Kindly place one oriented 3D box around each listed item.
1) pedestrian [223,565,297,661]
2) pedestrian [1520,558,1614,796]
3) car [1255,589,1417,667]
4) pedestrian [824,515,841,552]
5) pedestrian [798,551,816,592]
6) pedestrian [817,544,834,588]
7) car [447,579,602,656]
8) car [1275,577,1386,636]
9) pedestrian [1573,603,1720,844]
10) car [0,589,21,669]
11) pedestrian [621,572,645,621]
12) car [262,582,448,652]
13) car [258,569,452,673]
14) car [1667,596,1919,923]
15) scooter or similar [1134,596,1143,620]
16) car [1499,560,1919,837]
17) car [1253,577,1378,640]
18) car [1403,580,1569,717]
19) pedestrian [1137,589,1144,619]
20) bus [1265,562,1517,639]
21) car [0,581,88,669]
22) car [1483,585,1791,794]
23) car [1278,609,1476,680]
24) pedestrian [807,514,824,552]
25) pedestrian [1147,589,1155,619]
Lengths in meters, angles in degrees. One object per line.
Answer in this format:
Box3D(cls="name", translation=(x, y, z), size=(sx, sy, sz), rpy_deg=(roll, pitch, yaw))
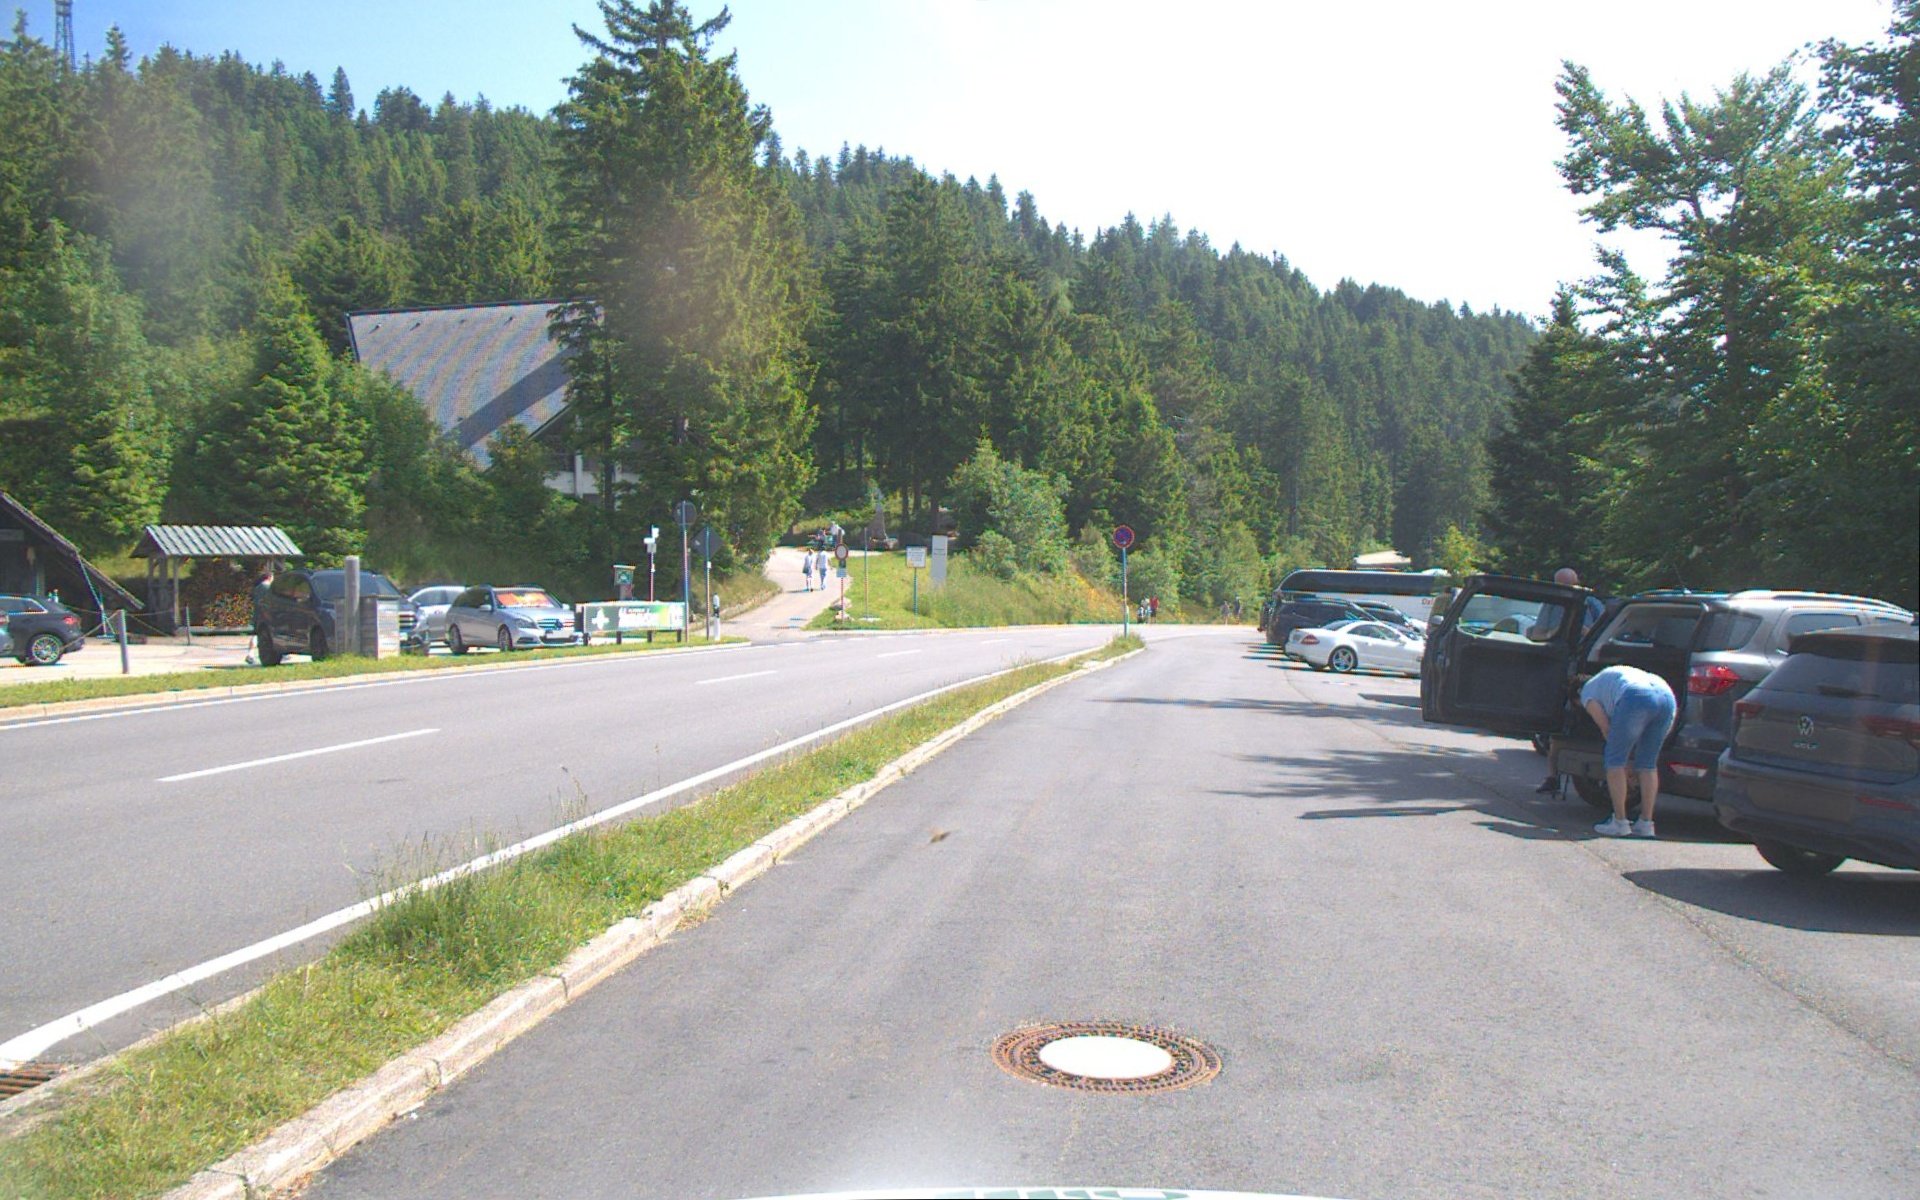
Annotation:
Box3D(cls="pedestrian", translation=(-13.273, 0.239, 31.386), size=(0.877, 1.764, 0.961), rpy_deg=(-1, 2, 8))
Box3D(cls="pedestrian", translation=(4.768, 0.589, 12.981), size=(0.567, 1.791, 0.633), rpy_deg=(3, 0, 23))
Box3D(cls="car", translation=(10.294, 0.736, 45.503), size=(3.906, 1.728, 2.001), rpy_deg=(5, 2, 1))
Box3D(cls="pedestrian", translation=(-7.056, -3.675, 91.529), size=(0.798, 2.048, 0.853), rpy_deg=(-1, 1, 0))
Box3D(cls="pedestrian", translation=(-6.352, -1.182, 68.726), size=(0.639, 1.696, 0.643), rpy_deg=(0, -1, 2))
Box3D(cls="pedestrian", translation=(-5.639, -1.437, 69.339), size=(0.639, 1.830, 0.643), rpy_deg=(0, 0, 2))
Box3D(cls="car", translation=(-9.165, 0.330, 34.612), size=(1.726, 1.466, 3.916), rpy_deg=(-2, 2, -38))
Box3D(cls="car", translation=(13.931, 0.228, 62.317), size=(3.903, 1.845, 1.942), rpy_deg=(4, 3, 11))
Box3D(cls="pedestrian", translation=(4.293, 0.750, 10.390), size=(0.757, 1.427, 0.670), rpy_deg=(-1, 2, 15))
Box3D(cls="car", translation=(-19.199, 0.602, 29.630), size=(3.956, 1.444, 1.663), rpy_deg=(-2, 0, -36))
Box3D(cls="pedestrian", translation=(-10.742, -0.119, 54.363), size=(0.565, 1.559, 0.553), rpy_deg=(-1, 1, 8))
Box3D(cls="car", translation=(-14.794, 0.381, 40.569), size=(3.966, 1.520, 1.659), rpy_deg=(-2, 3, -42))
Box3D(cls="car", translation=(-10.489, 0.336, 28.518), size=(1.774, 1.662, 4.147), rpy_deg=(0, 0, -41))
Box3D(cls="car", translation=(6.168, 0.822, 8.986), size=(3.918, 1.468, 1.834), rpy_deg=(3, 1, -13))
Box3D(cls="scooter or similar", translation=(10.504, 0.460, 97.395), size=(0.472, 1.404, 0.818), rpy_deg=(-1, 2, 8))
Box3D(cls="car", translation=(6.248, 0.726, 12.067), size=(3.927, 1.690, 1.989), rpy_deg=(5, 0, -19))
Box3D(cls="car", translation=(11.900, 0.266, 55.585), size=(3.903, 1.749, 1.869), rpy_deg=(4, 2, 9))
Box3D(cls="car", translation=(8.931, 0.744, 28.476), size=(1.865, 2.006, 4.823), rpy_deg=(5, 1, 9))
Box3D(cls="pedestrian", translation=(10.699, 0.225, 98.023), size=(0.406, 1.777, 0.457), rpy_deg=(-1, 1, 8))
Box3D(cls="bus", translation=(22.737, -0.065, 87.665), size=(12.607, 3.640, 2.980), rpy_deg=(1, 3, 25))
Box3D(cls="car", translation=(-19.555, 0.511, 32.612), size=(3.954, 1.646, 1.976), rpy_deg=(-2, 2, -35))
Box3D(cls="car", translation=(6.522, 0.777, 16.450), size=(1.707, 1.660, 4.312), rpy_deg=(5, 0, 8))
Box3D(cls="car", translation=(10.234, 1.078, 40.705), size=(4.370, 1.321, 1.580), rpy_deg=(5, 1, -8))
Box3D(cls="pedestrian", translation=(-7.959, -3.686, 91.196), size=(0.781, 2.048, 0.940), rpy_deg=(-1, 2, 0))
Box3D(cls="pedestrian", translation=(11.287, 0.217, 97.848), size=(0.386, 1.777, 0.406), rpy_deg=(-1, 1, 10))
